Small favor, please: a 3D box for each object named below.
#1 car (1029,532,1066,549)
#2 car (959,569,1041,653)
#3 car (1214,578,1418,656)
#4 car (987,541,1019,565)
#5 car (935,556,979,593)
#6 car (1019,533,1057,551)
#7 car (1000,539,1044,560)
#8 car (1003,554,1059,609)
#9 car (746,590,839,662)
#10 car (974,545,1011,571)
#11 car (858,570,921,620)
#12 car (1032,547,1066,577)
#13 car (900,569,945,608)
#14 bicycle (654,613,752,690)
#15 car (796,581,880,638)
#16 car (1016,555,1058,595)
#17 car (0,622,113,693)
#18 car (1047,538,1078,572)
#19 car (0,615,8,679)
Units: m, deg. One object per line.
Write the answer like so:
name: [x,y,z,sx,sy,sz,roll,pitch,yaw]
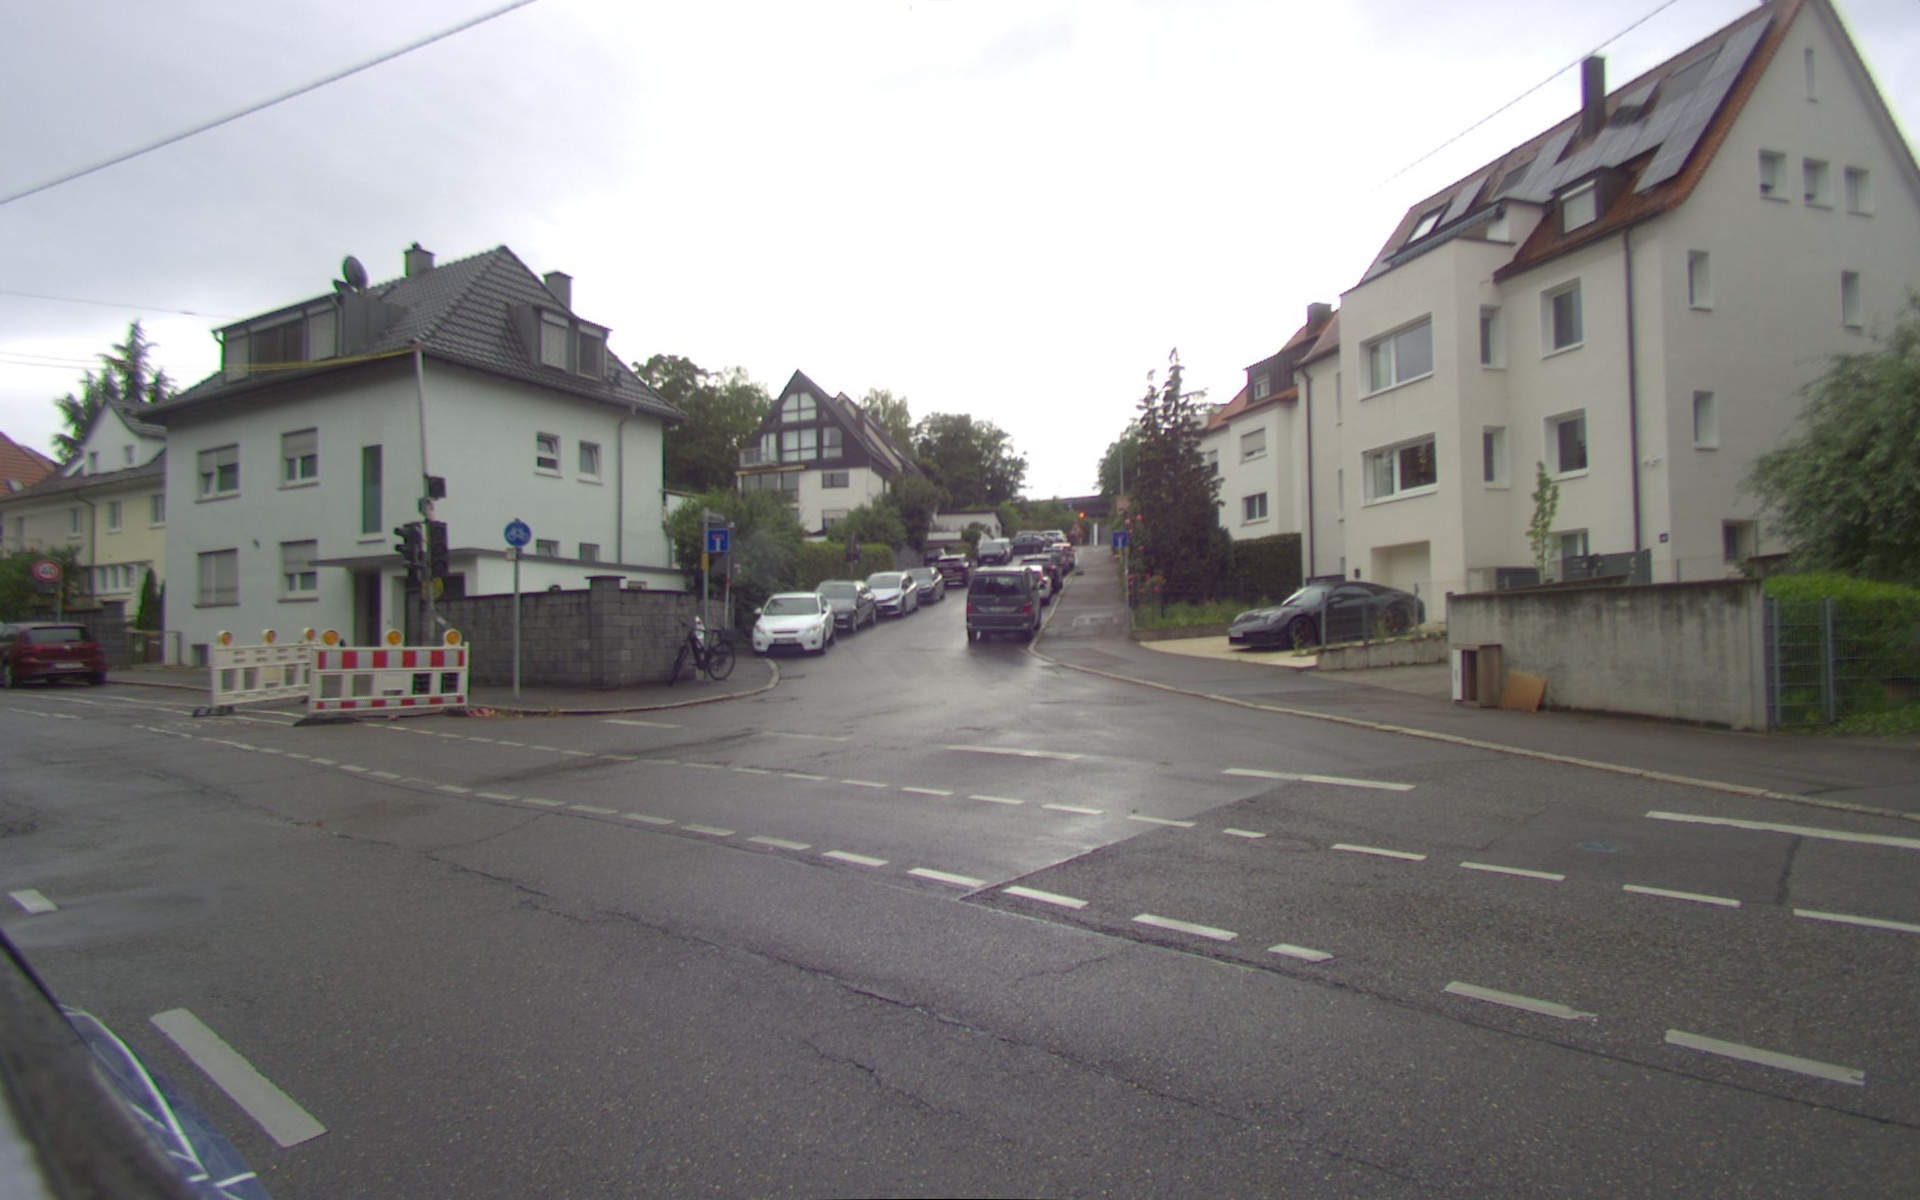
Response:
car: [9.021,-6.079,103.831,3.492,1.510,1.614,-1,6,18]
car: [1.216,0.242,28.852,1.893,1.950,3.789,-2,5,9]
car: [7.664,0.352,21.852,3.857,1.342,1.572,-4,1,-16]
car: [3.237,-3.559,75.601,1.720,1.510,3.817,-1,6,13]
car: [-0.107,-1.359,52.250,1.323,1.566,3.971,-1,6,13]
car: [7.632,-5.664,98.770,3.489,1.510,1.615,-1,6,16]
car: [5.131,-4.221,83.779,3.572,1.510,1.578,-2,5,7]
car: [2.852,-0.755,39.902,1.900,1.850,3.406,-2,5,9]
car: [-4.192,0.603,25.874,1.726,1.476,3.561,-2,3,0]
car: [2.246,-2.866,68.731,1.720,1.510,3.817,-1,6,13]
car: [-2.518,-0.224,36.954,1.564,1.476,3.847,-1,5,7]
car: [5.171,-2.230,58.290,1.677,1.479,3.553,-2,5,9]
car: [-1.541,-0.518,42.508,1.320,1.400,3.497,-1,5,7]
bicycle: [-4.694,0.909,18.554,0.705,1.321,1.713,-1,0,33]
car: [-3.756,0.238,31.736,1.684,1.476,3.847,-2,3,7]
car: [3.476,-1.139,45.278,1.565,1.479,3.553,-2,5,9]
car: [-21.468,1.346,23.377,3.785,1.505,1.877,-3,-3,33]
car: [6.368,-2.815,62.647,1.677,1.871,3.553,-2,5,9]
car: [-25.862,1.281,25.606,3.993,1.601,1.652,-4,-1,33]
